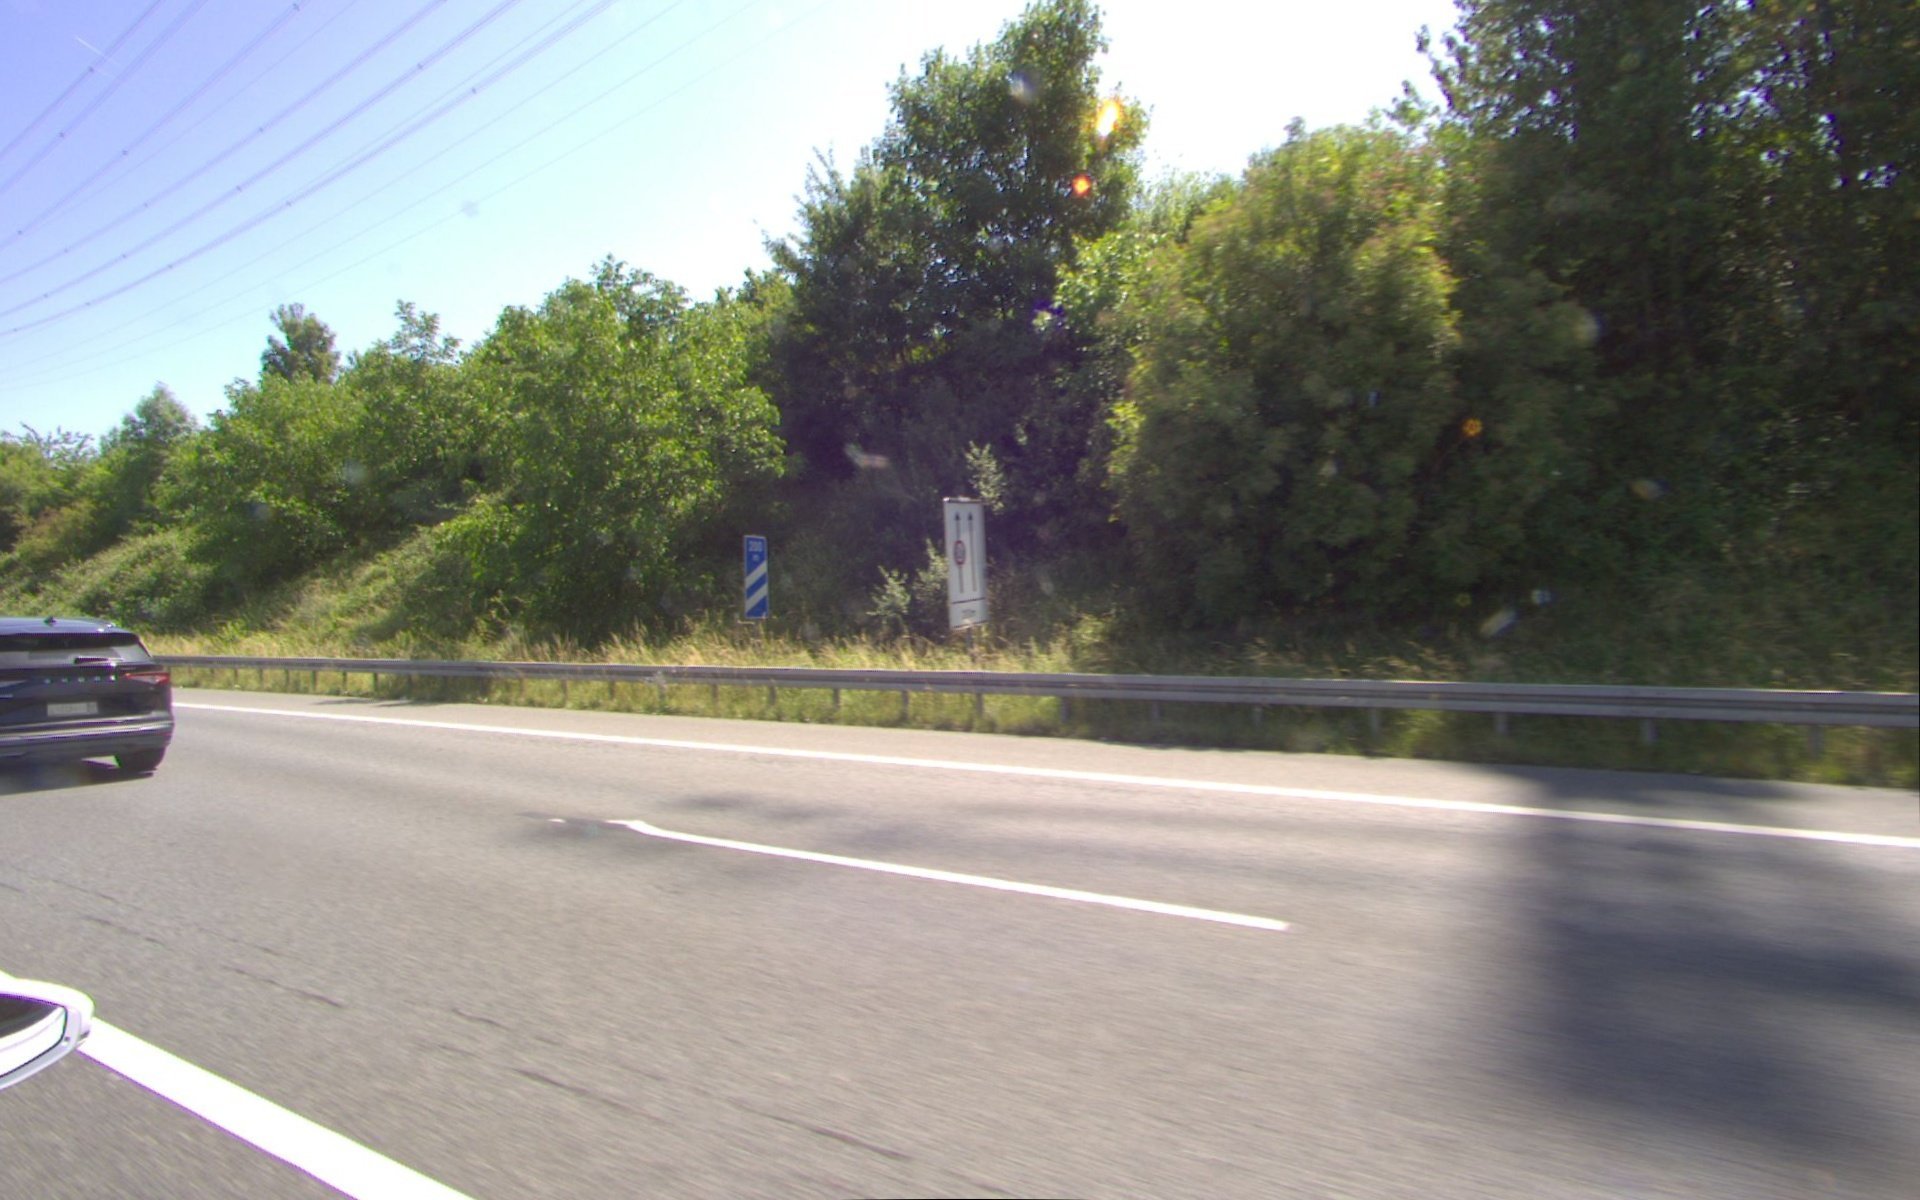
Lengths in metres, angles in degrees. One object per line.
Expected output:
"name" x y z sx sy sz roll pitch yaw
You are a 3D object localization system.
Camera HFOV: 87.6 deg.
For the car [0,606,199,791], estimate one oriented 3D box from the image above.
"car" -10.078 0.915 10.539 4.366 1.635 1.825 -1 -1 31
